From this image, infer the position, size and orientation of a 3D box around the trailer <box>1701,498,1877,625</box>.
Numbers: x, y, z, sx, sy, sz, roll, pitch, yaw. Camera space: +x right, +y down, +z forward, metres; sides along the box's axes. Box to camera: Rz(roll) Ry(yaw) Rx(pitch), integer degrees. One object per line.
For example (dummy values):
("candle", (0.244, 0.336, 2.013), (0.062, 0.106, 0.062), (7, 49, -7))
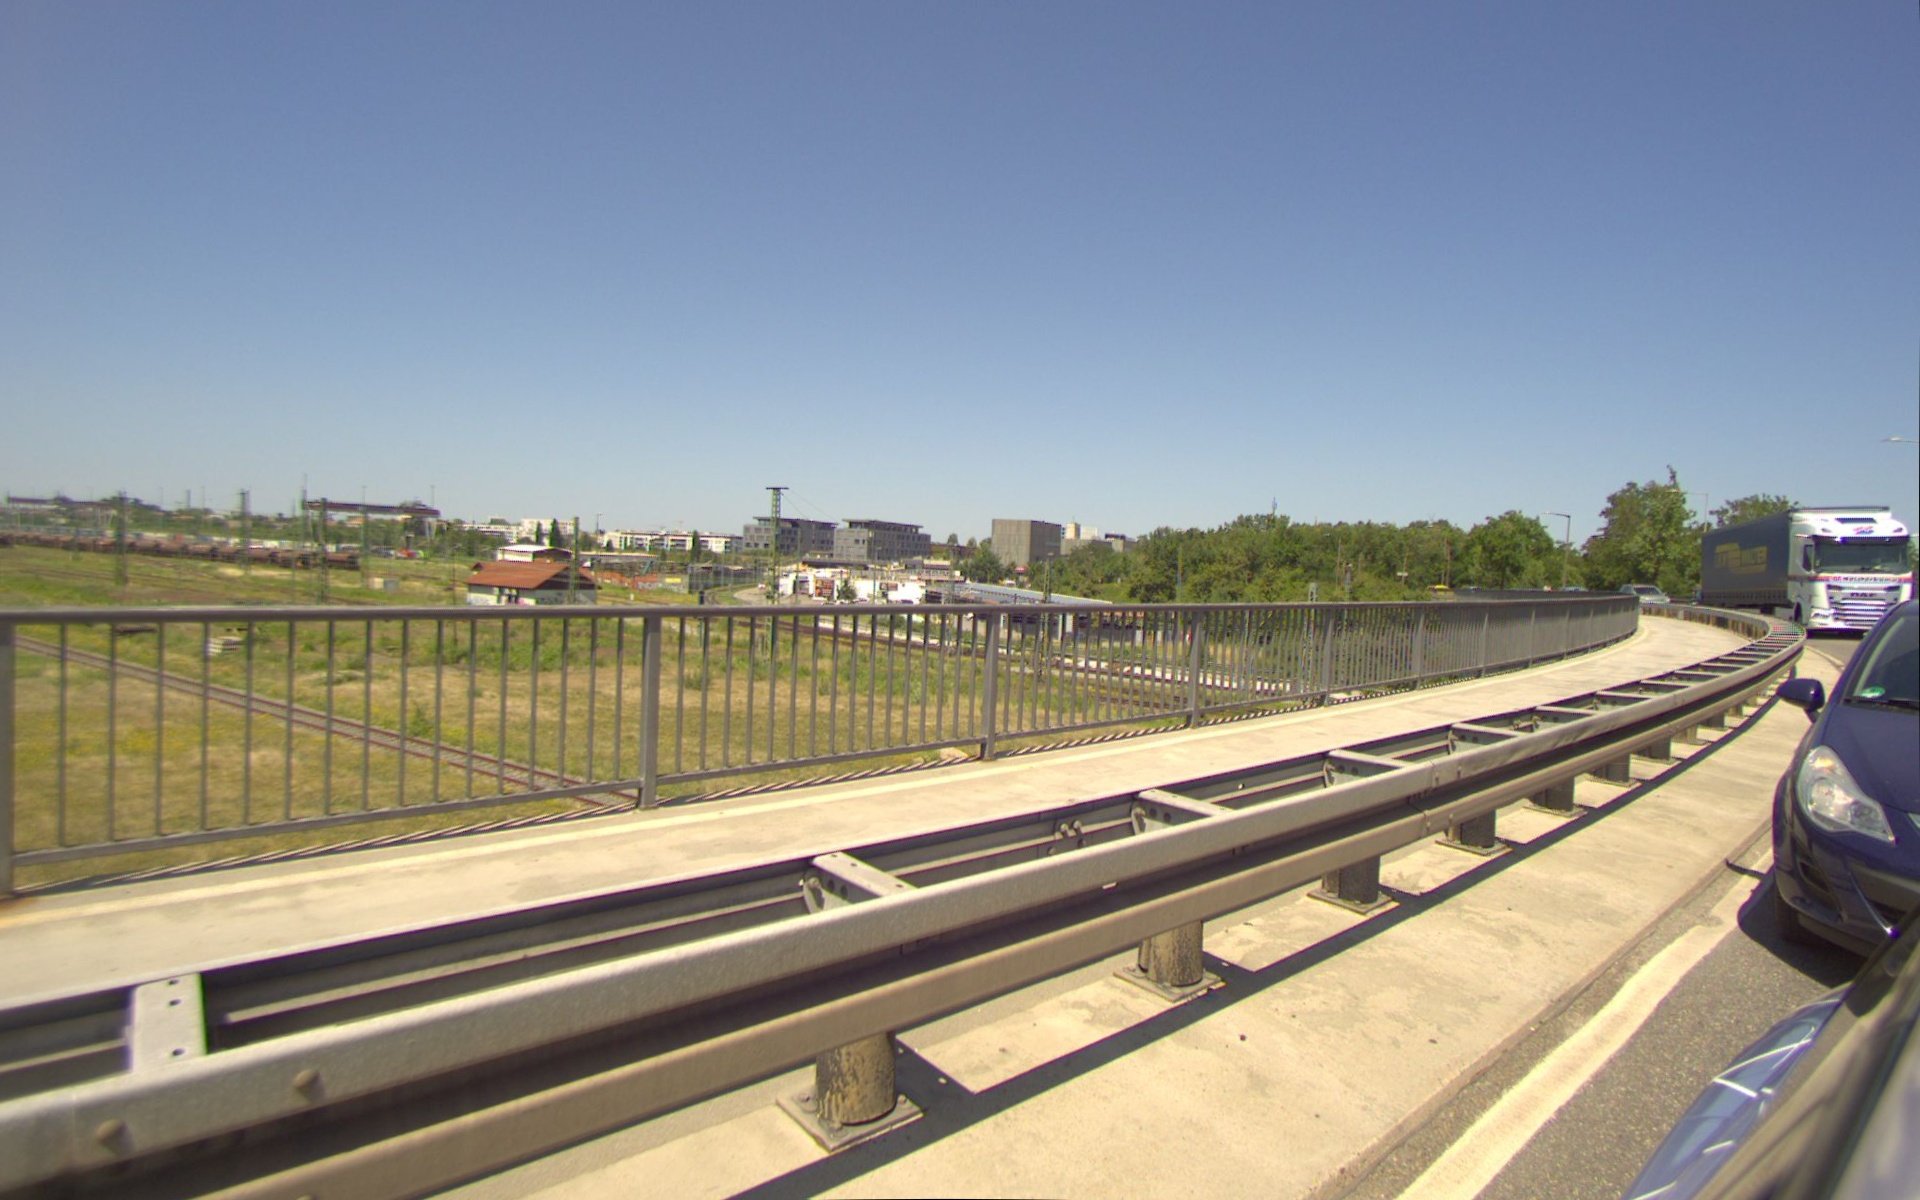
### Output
("trailer", (32.438, -1.444, 40.270), (2.676, 4.287, 12.597), (0, 1, 27))

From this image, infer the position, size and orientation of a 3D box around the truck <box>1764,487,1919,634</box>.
("truck", (28.776, -1.240, 33.032), (2.671, 4.281, 6.774), (0, 1, 28))

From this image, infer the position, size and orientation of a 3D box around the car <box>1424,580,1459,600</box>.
("car", (49.293, -1.061, 103.662), (1.965, 2.039, 3.994), (0, 1, 6))

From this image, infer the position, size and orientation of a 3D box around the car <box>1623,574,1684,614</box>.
("car", (40.675, -0.327, 59.447), (1.976, 2.040, 3.970), (-3, -4, 21))

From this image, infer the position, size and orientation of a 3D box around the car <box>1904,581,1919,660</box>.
("car", (18.553, 0.393, 18.211), (1.785, 1.473, 4.463), (0, 0, 37))

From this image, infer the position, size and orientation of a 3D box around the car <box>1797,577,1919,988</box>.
("car", (5.124, 0.636, 4.639), (1.641, 1.457, 3.936), (1, 1, 45))
